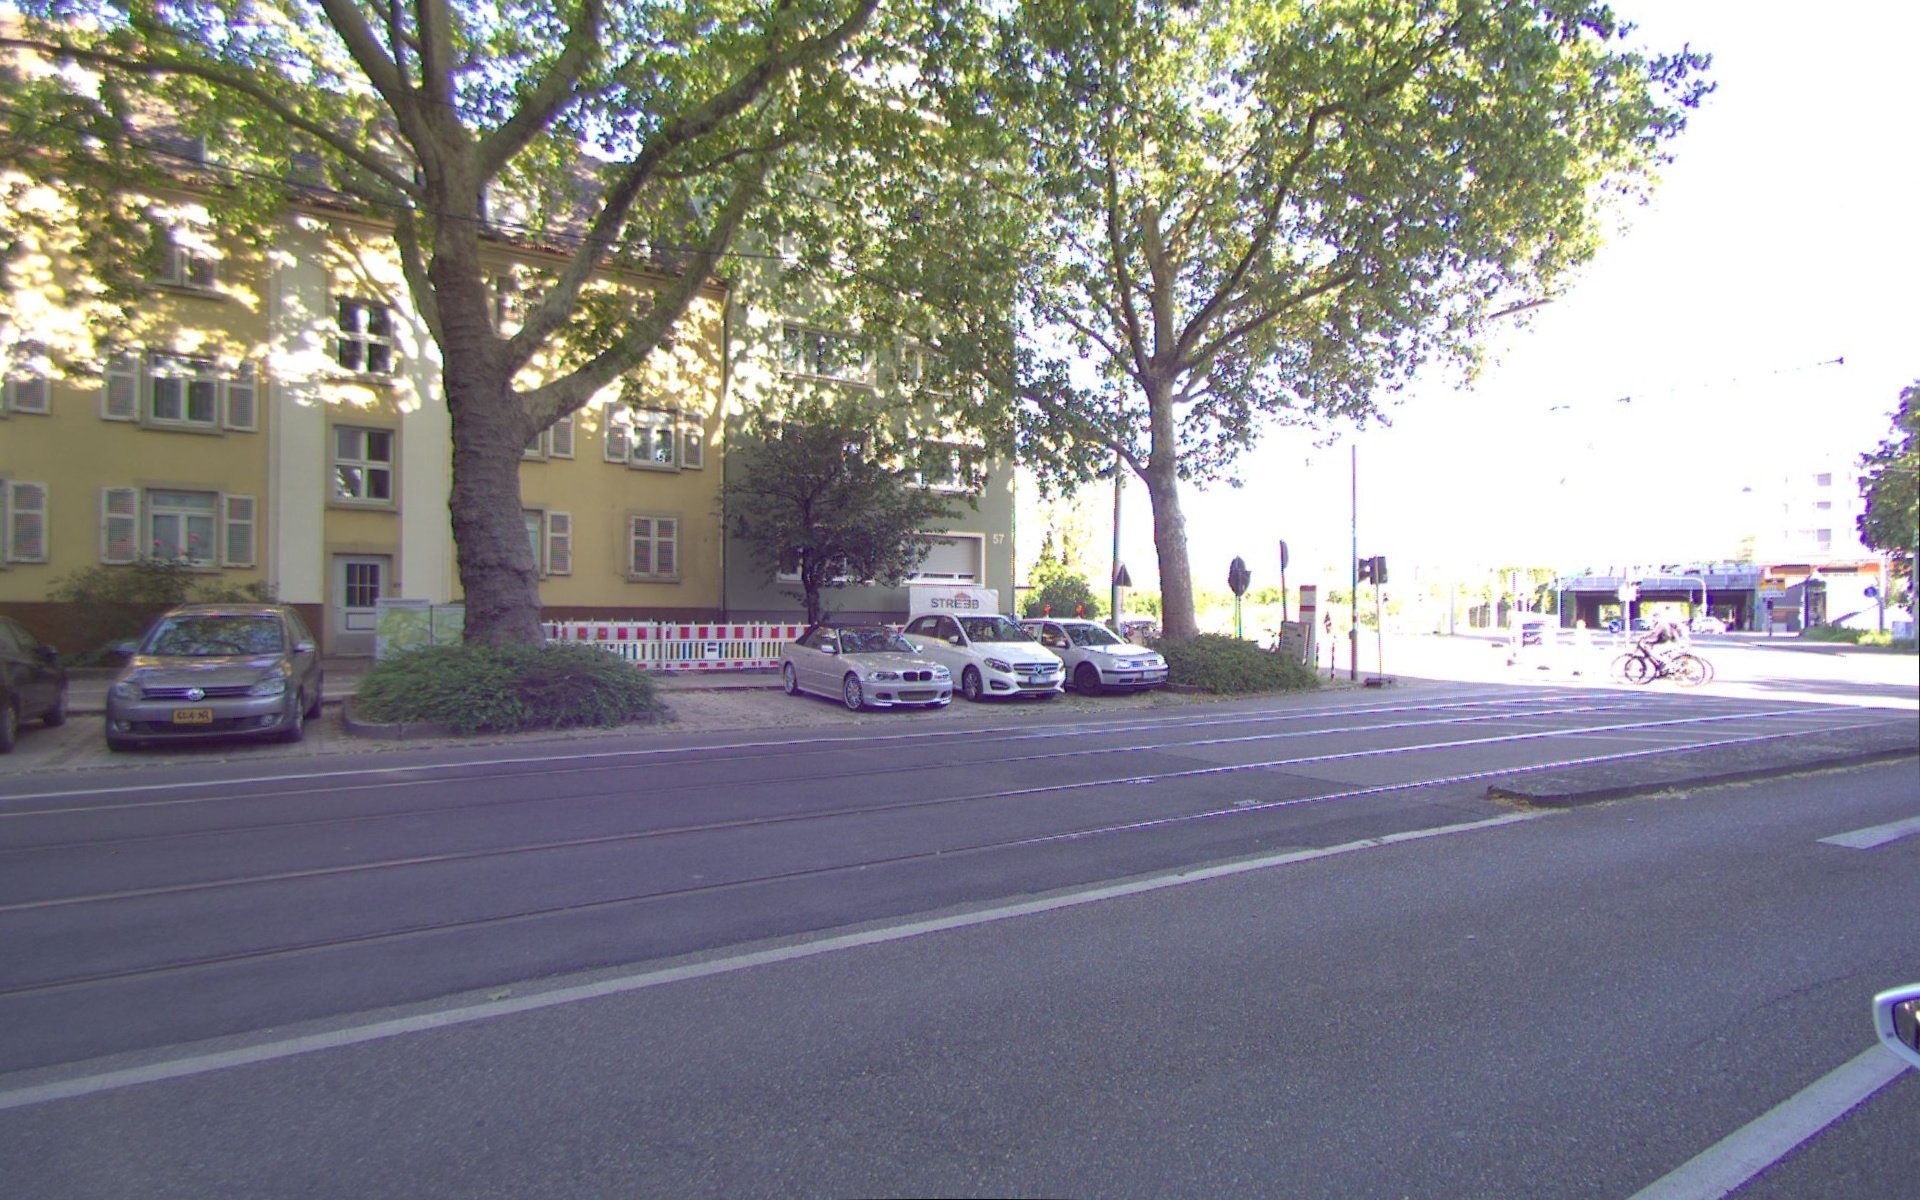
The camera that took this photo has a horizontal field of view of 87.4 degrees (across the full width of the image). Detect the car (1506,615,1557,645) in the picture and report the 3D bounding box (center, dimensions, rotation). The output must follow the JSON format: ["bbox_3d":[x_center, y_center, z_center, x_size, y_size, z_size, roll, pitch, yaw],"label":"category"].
[{"bbox_3d":[32.427,1.680,56.947,1.803,1.539,3.876,2,1,40],"label":"car"}]

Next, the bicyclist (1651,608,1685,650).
[{"bbox_3d":[27.598,1.113,39.157,0.640,1.616,0.859,1,-1,-22],"label":"bicyclist"}]

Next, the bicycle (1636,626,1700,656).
[{"bbox_3d":[27.614,1.589,39.223,0.584,1.108,2.051,1,-1,-22],"label":"bicycle"}]

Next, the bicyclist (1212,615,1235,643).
[{"bbox_3d":[14.907,1.637,56.872,0.790,1.591,1.004,1,-1,-32],"label":"bicyclist"}]

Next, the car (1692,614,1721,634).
[{"bbox_3d":[70.508,2.296,94.919,1.706,1.829,4.180,0,-1,30],"label":"car"}]

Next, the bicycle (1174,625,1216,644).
[{"bbox_3d":[13.833,2.013,59.217,2.261,1.098,0.798,0,-1,33],"label":"bicycle"}]

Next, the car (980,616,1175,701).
[{"bbox_3d":[2.297,1.110,20.830,1.656,1.448,4.490,1,0,-30],"label":"car"}]

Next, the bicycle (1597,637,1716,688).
[{"bbox_3d":[15.677,1.390,22.647,2.163,1.047,0.831,0,-1,38],"label":"bicycle"}]

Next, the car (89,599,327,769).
[{"bbox_3d":[-9.039,0.862,12.431,1.793,1.627,4.169,1,1,-29],"label":"car"}]

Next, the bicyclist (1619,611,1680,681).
[{"bbox_3d":[15.588,1.014,22.700,1.099,1.540,0.918,0,-1,38],"label":"bicyclist"}]

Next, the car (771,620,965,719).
[{"bbox_3d":[-1.732,1.096,17.441,1.708,1.386,4.219,1,0,-31],"label":"car"}]

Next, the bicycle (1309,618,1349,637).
[{"bbox_3d":[20.605,1.521,56.097,2.003,1.075,0.583,0,-1,-5],"label":"bicycle"}]

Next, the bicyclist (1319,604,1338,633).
[{"bbox_3d":[20.591,1.022,56.086,0.817,1.584,0.637,0,-1,-5],"label":"bicyclist"}]

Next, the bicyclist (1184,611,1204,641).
[{"bbox_3d":[13.793,1.524,59.241,0.914,1.730,0.873,0,-1,33],"label":"bicyclist"}]

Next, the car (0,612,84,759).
[{"bbox_3d":[-11.396,0.883,11.302,1.723,1.448,3.545,1,0,-31],"label":"car"}]

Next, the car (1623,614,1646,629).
[{"bbox_3d":[87.407,2.783,130.141,2.185,1.847,4.131,0,-1,37],"label":"car"}]

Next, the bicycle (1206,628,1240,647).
[{"bbox_3d":[14.879,2.110,56.890,0.665,0.997,2.048,1,-1,-30],"label":"bicycle"}]

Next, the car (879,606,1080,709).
[{"bbox_3d":[0.218,0.995,19.485,1.777,1.640,4.587,1,1,-30],"label":"car"}]

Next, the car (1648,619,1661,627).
[{"bbox_3d":[133.419,4.400,193.076,1.967,1.623,4.234,0,-1,34],"label":"car"}]
